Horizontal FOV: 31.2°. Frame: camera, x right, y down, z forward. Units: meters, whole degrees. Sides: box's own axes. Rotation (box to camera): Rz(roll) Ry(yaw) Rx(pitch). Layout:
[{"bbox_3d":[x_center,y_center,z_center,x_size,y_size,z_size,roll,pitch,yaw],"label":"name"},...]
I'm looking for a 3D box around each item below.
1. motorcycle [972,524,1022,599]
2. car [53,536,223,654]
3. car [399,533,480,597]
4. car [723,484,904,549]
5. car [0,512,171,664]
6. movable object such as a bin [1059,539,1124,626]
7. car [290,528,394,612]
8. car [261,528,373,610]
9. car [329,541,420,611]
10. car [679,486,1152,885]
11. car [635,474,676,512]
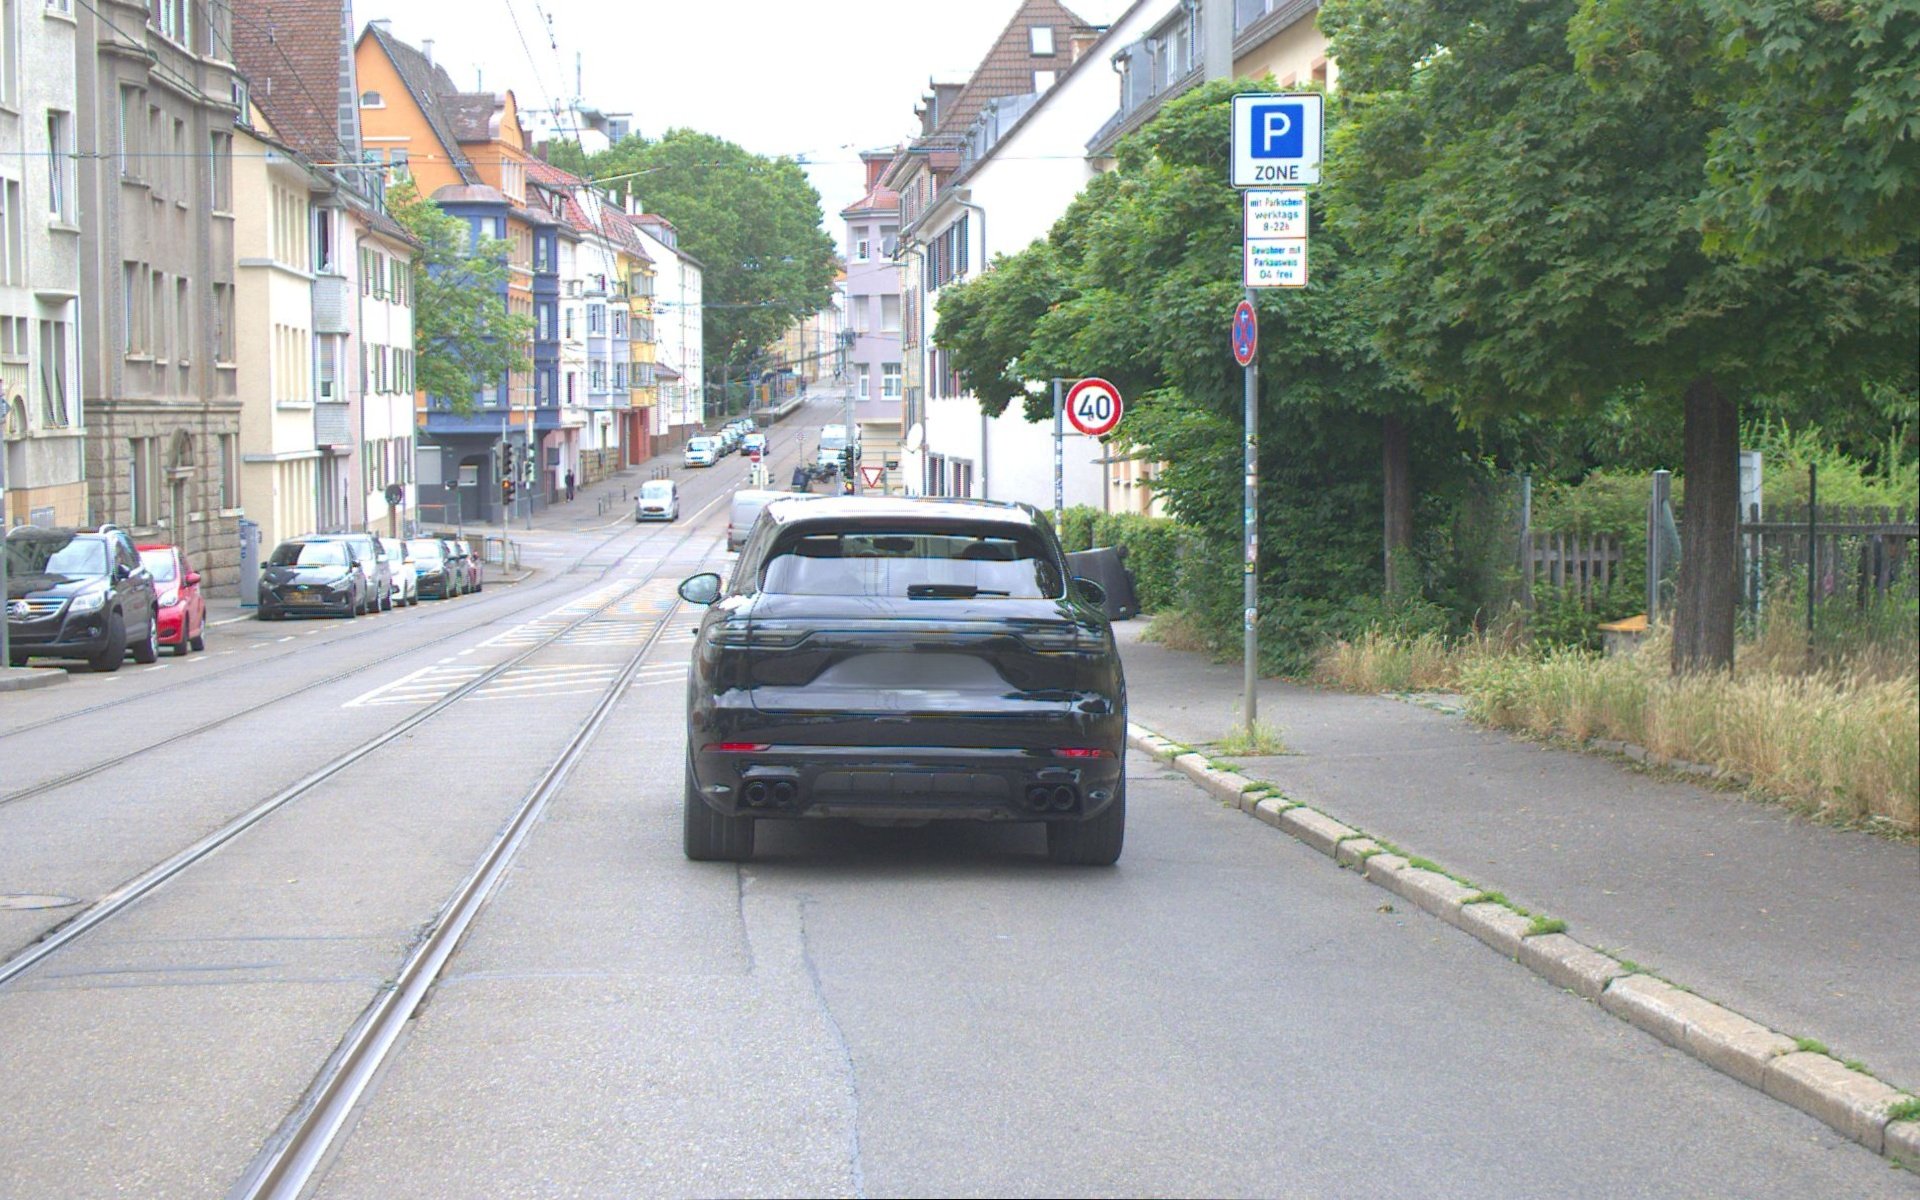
[{"bbox_3d":[0.717,-0.760,67.640,0.838,1.451,2.553,0,1,-3],"label":"motorcycle"},{"bbox_3d":[-10.822,-0.077,45.469,1.620,1.458,3.746,-1,0,-5],"label":"car"},{"bbox_3d":[-12.607,-0.842,83.392,1.620,1.468,4.557,-1,0,-5],"label":"car"},{"bbox_3d":[-5.339,-3.036,125.341,6.288,2.282,2.199,0,1,25],"label":"car"},{"bbox_3d":[-10.401,-0.135,39.747,1.867,1.640,4.403,-1,0,-5],"label":"car"},{"bbox_3d":[1.866,-0.256,48.739,0.792,1.214,0.789,0,1,-7],"label":"movable object such as a bin"},{"bbox_3d":[-12.344,-0.595,68.905,1.620,1.599,4.352,-1,0,-5],"label":"car"},{"bbox_3d":[-11.954,-0.571,64.091,1.620,1.458,4.033,-1,0,-5],"label":"car"},{"bbox_3d":[-12.746,-0.527,75.023,1.620,1.458,3.685,-1,0,-5],"label":"car"},{"bbox_3d":[-0.320,0.327,16.552,1.993,1.670,4.001,0,1,-4],"label":"car"},{"bbox_3d":[-14.449,-5.059,163.221,1.751,1.753,4.254,0,1,-3],"label":"car"}]
